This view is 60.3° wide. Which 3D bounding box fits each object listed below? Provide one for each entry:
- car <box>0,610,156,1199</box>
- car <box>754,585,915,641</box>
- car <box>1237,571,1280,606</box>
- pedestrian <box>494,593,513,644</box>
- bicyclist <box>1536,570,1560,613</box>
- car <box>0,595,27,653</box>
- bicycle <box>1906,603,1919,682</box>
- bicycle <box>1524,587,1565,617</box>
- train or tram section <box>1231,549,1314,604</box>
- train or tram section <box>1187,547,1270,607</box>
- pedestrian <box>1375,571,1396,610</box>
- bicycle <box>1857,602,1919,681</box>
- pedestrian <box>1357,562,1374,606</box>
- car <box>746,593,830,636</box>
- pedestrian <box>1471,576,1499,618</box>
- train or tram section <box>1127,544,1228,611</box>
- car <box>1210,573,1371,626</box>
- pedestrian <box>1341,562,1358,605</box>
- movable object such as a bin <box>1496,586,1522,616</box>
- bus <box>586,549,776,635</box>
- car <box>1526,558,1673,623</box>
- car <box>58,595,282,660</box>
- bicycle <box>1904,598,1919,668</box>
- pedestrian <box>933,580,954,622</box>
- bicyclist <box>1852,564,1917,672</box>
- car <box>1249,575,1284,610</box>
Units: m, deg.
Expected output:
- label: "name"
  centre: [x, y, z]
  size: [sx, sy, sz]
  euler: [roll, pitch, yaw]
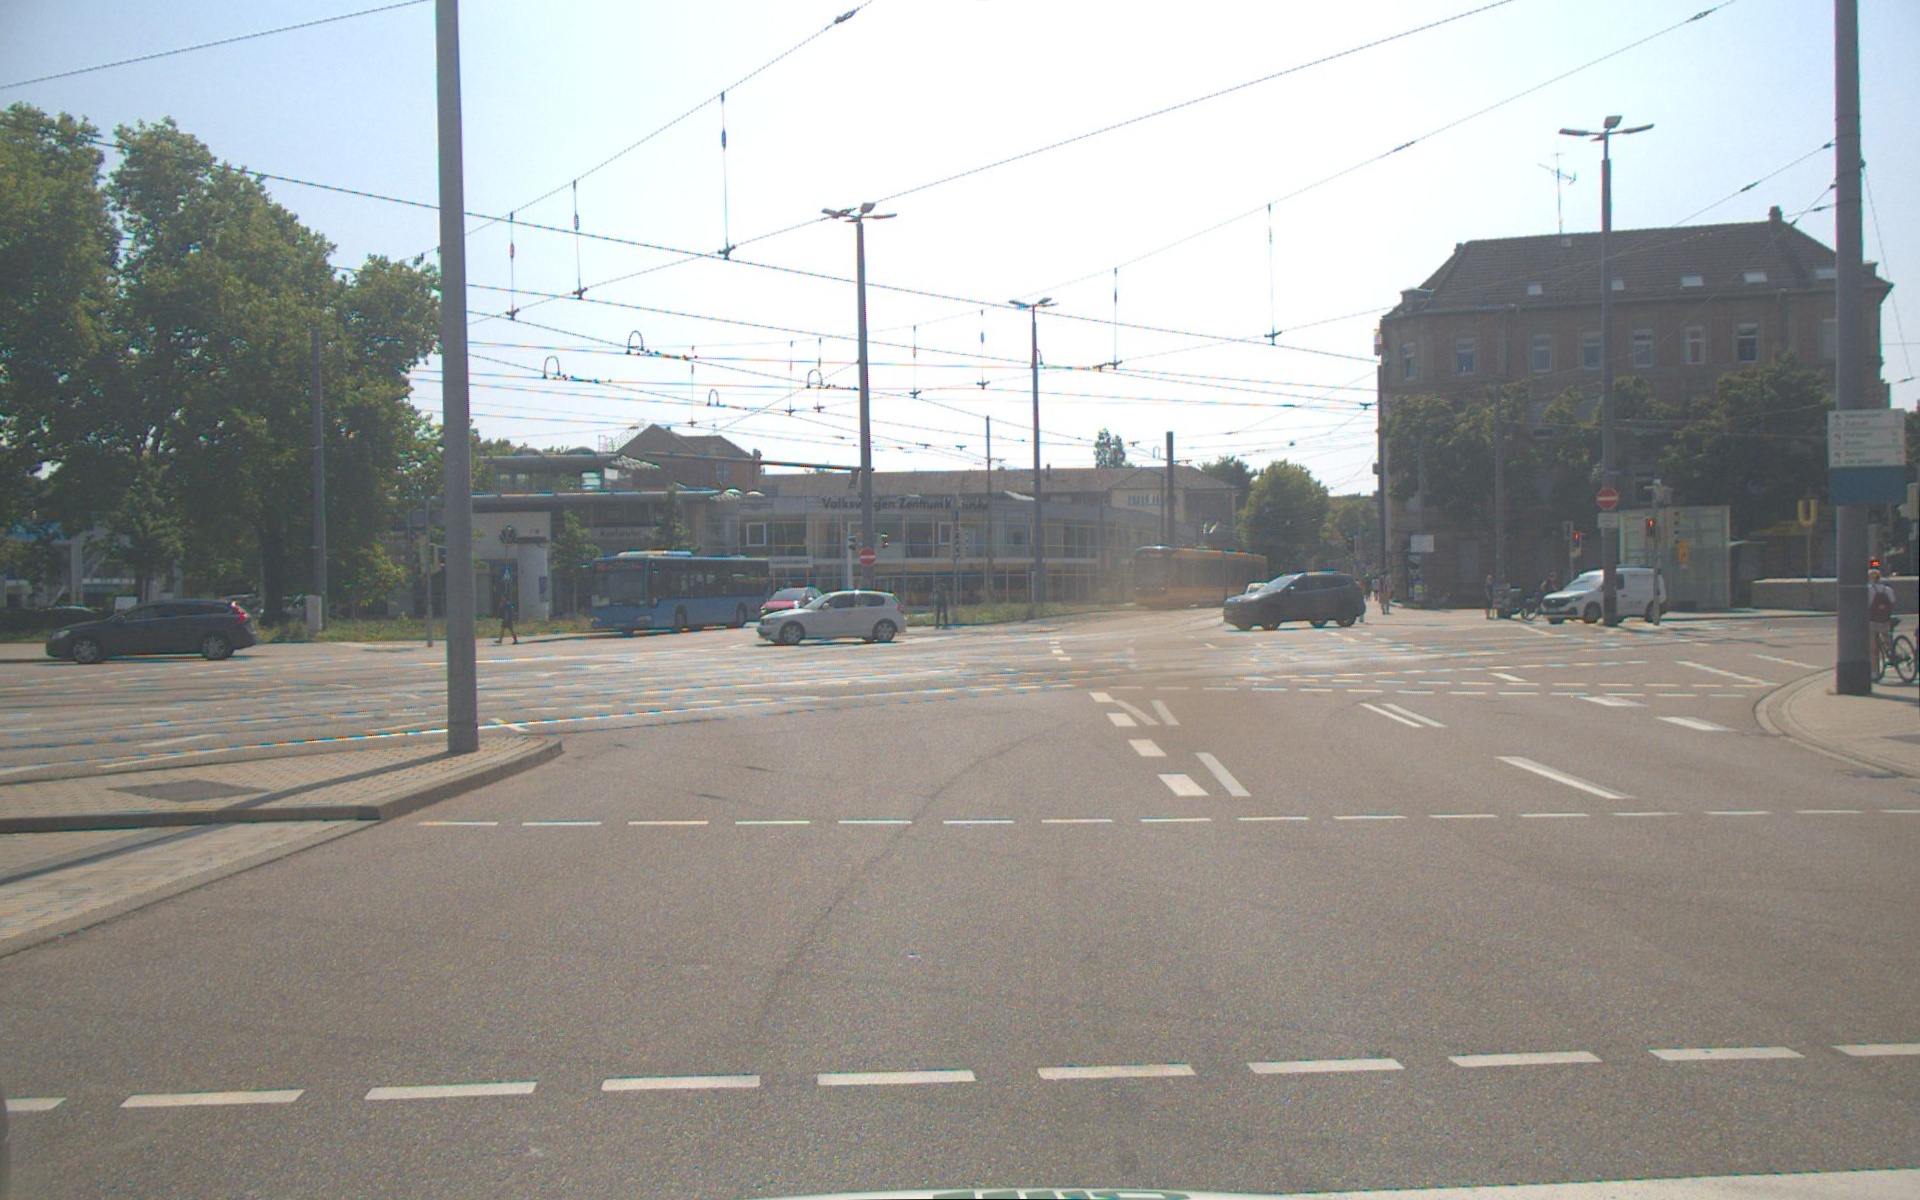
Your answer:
- label: "car"
  centre: [-2.508, 0.729, 1.333]
  size: [1.729, 1.412, 3.782]
  euler: [1, 0, 3]
- label: "car"
  centre: [-3.485, 0.331, 45.717]
  size: [4.126, 1.440, 1.765]
  euler: [-1, 0, -20]
- label: "car"
  centre: [12.843, -0.497, 71.193]
  size: [1.732, 1.440, 4.193]
  euler: [-1, 0, 10]
- label: "pedestrian"
  centre: [-15.293, 0.620, 55.408]
  size: [0.544, 1.713, 0.452]
  euler: [-1, 0, -19]
- label: "bicyclist"
  centre: [21.463, -0.296, 60.385]
  size: [0.603, 1.555, 0.517]
  euler: [-1, 0, -25]
- label: "car"
  centre: [-35.888, 0.882, 59.215]
  size: [3.924, 2.049, 1.922]
  euler: [-1, 0, -17]
- label: "bicycle"
  centre: [13.161, 0.577, 21.769]
  size: [0.481, 1.073, 1.824]
  euler: [-1, 0, 4]
- label: "bicycle"
  centre: [21.390, 0.069, 60.559]
  size: [0.462, 1.073, 1.643]
  euler: [-1, 0, -20]
- label: "train or tram section"
  centre: [21.677, -1.594, 114.041]
  size: [2.537, 3.578, 12.965]
  euler: [-1, 0, 24]
- label: "train or tram section"
  centre: [16.952, -1.413, 103.810]
  size: [2.537, 3.578, 9.651]
  euler: [-1, 0, 26]
- label: "pedestrian"
  centre: [17.924, -0.396, 69.654]
  size: [0.686, 1.631, 0.572]
  euler: [-1, 0, -8]
- label: "bicycle"
  centre: [13.466, 0.579, 23.777]
  size: [0.525, 1.073, 1.655]
  euler: [-1, 0, 12]
- label: "pedestrian"
  centre: [28.591, -1.145, 116.533]
  size: [0.963, 3.070, 0.975]
  euler: [-1, 0, 5]
- label: "car"
  centre: [-6.539, 0.531, 63.227]
  size: [1.713, 1.579, 4.002]
  euler: [-1, 0, 17]
- label: "pedestrian"
  centre: [19.946, -0.116, 62.827]
  size: [0.834, 1.572, 0.528]
  euler: [-1, 0, -9]
- label: "train or tram section"
  centre: [12.553, -1.263, 94.563]
  size: [2.537, 3.578, 10.891]
  euler: [-1, 0, 25]
- label: "car"
  centre: [10.181, -0.042, 51.008]
  size: [4.545, 1.531, 1.987]
  euler: [-1, 0, -21]
- label: "pedestrian"
  centre: [27.532, -1.165, 116.881]
  size: [0.963, 3.070, 0.975]
  euler: [-1, 0, 5]
- label: "movable object such as a bin"
  centre: [20.750, 0.040, 62.531]
  size: [0.798, 1.096, 0.510]
  euler: [-1, 0, -11]
- label: "bus"
  centre: [-10.889, -0.337, 66.438]
  size: [2.508, 3.136, 12.031]
  euler: [-1, 0, 16]
- label: "car"
  centre: [21.388, -0.328, 55.303]
  size: [4.549, 2.049, 1.985]
  euler: [-1, 0, -24]
- label: "car"
  centre: [-18.953, 0.631, 39.917]
  size: [4.684, 1.440, 1.765]
  euler: [-1, 0, -20]
- label: "bicycle"
  centre: [15.132, 0.518, 25.476]
  size: [0.525, 1.073, 1.655]
  euler: [-1, 0, 12]
- label: "pedestrian"
  centre: [-0.579, 0.027, 58.695]
  size: [0.666, 1.468, 0.364]
  euler: [-1, 0, -18]
- label: "bicyclist"
  centre: [13.486, 0.259, 24.141]
  size: [0.614, 1.544, 0.712]
  euler: [-1, 0, 12]
- label: "car"
  centre: [15.024, -0.357, 81.033]
  size: [1.601, 1.646, 4.004]
  euler: [-1, 0, 11]
